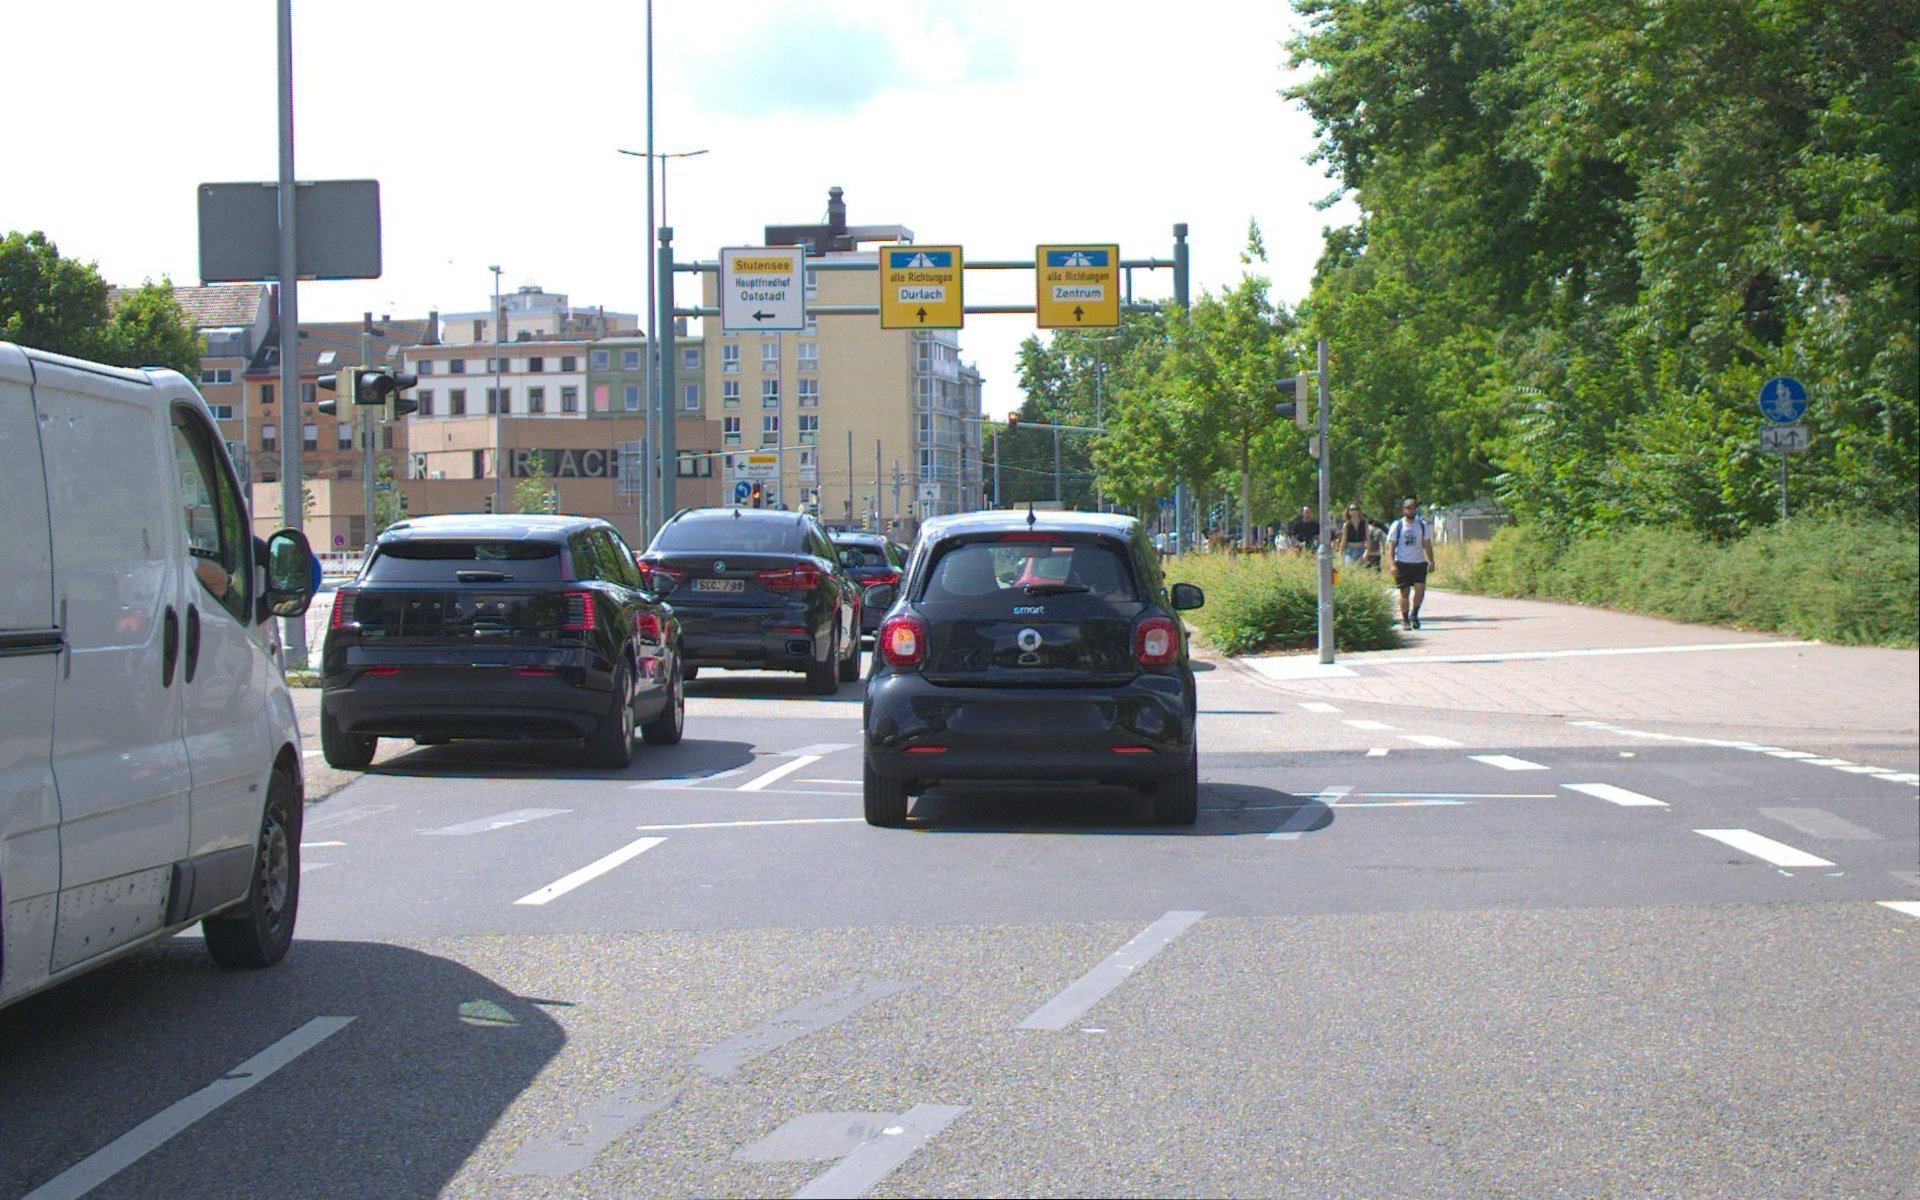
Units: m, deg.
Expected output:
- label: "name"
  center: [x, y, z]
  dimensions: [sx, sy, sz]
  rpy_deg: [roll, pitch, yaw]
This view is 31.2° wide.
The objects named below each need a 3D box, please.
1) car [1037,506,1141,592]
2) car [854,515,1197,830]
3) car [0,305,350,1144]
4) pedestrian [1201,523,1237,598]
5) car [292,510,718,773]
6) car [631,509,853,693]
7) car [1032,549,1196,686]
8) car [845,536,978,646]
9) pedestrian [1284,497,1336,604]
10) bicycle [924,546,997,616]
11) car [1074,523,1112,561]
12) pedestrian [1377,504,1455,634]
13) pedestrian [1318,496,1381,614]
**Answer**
- label: "car"
  center: [2.202, -0.887, 59.526]
  dimensions: [1.611, 1.406, 3.517]
  rpy_deg: [1, 1, 0]
- label: "car"
  center: [0.300, 0.320, 17.981]
  dimensions: [1.611, 1.480, 3.517]
  rpy_deg: [0, 1, 0]
- label: "car"
  center: [-3.200, 0.252, 9.499]
  dimensions: [2.006, 1.949, 5.194]
  rpy_deg: [1, 1, 1]
- label: "pedestrian"
  center: [6.869, -1.049, 91.144]
  dimensions: [0.838, 1.962, 0.861]
  rpy_deg: [0, 1, -2]
- label: "car"
  center: [-2.811, 0.186, 22.368]
  dimensions: [2.017, 1.525, 4.887]
  rpy_deg: [0, 1, 1]
- label: "car"
  center: [-1.996, -0.033, 32.543]
  dimensions: [1.827, 1.595, 4.394]
  rpy_deg: [1, 1, 0]
- label: "car"
  center: [1.667, 0.180, 38.218]
  dimensions: [1.611, 1.406, 3.517]
  rpy_deg: [1, 0, 0]
- label: "car"
  center: [-0.600, -0.137, 43.343]
  dimensions: [1.611, 1.320, 3.517]
  rpy_deg: [0, 1, 0]
- label: "pedestrian"
  center: [6.499, -0.916, 63.831]
  dimensions: [0.838, 1.962, 0.861]
  rpy_deg: [0, 1, -2]
- label: "bicycle"
  center: [0.001, -0.573, 103.273]
  dimensions: [1.993, 2.007, 4.000]
  rpy_deg: [1, 1, -2]
- label: "car"
  center: [7.142, -3.093, 184.406]
  dimensions: [1.944, 1.956, 3.950]
  rpy_deg: [1, 1, 3]
- label: "pedestrian"
  center: [6.056, -0.413, 45.699]
  dimensions: [0.851, 1.695, 0.931]
  rpy_deg: [-2, 0, 0]
- label: "pedestrian"
  center: [6.190, -0.719, 54.657]
  dimensions: [0.838, 1.861, 1.019]
  rpy_deg: [0, 1, -2]
